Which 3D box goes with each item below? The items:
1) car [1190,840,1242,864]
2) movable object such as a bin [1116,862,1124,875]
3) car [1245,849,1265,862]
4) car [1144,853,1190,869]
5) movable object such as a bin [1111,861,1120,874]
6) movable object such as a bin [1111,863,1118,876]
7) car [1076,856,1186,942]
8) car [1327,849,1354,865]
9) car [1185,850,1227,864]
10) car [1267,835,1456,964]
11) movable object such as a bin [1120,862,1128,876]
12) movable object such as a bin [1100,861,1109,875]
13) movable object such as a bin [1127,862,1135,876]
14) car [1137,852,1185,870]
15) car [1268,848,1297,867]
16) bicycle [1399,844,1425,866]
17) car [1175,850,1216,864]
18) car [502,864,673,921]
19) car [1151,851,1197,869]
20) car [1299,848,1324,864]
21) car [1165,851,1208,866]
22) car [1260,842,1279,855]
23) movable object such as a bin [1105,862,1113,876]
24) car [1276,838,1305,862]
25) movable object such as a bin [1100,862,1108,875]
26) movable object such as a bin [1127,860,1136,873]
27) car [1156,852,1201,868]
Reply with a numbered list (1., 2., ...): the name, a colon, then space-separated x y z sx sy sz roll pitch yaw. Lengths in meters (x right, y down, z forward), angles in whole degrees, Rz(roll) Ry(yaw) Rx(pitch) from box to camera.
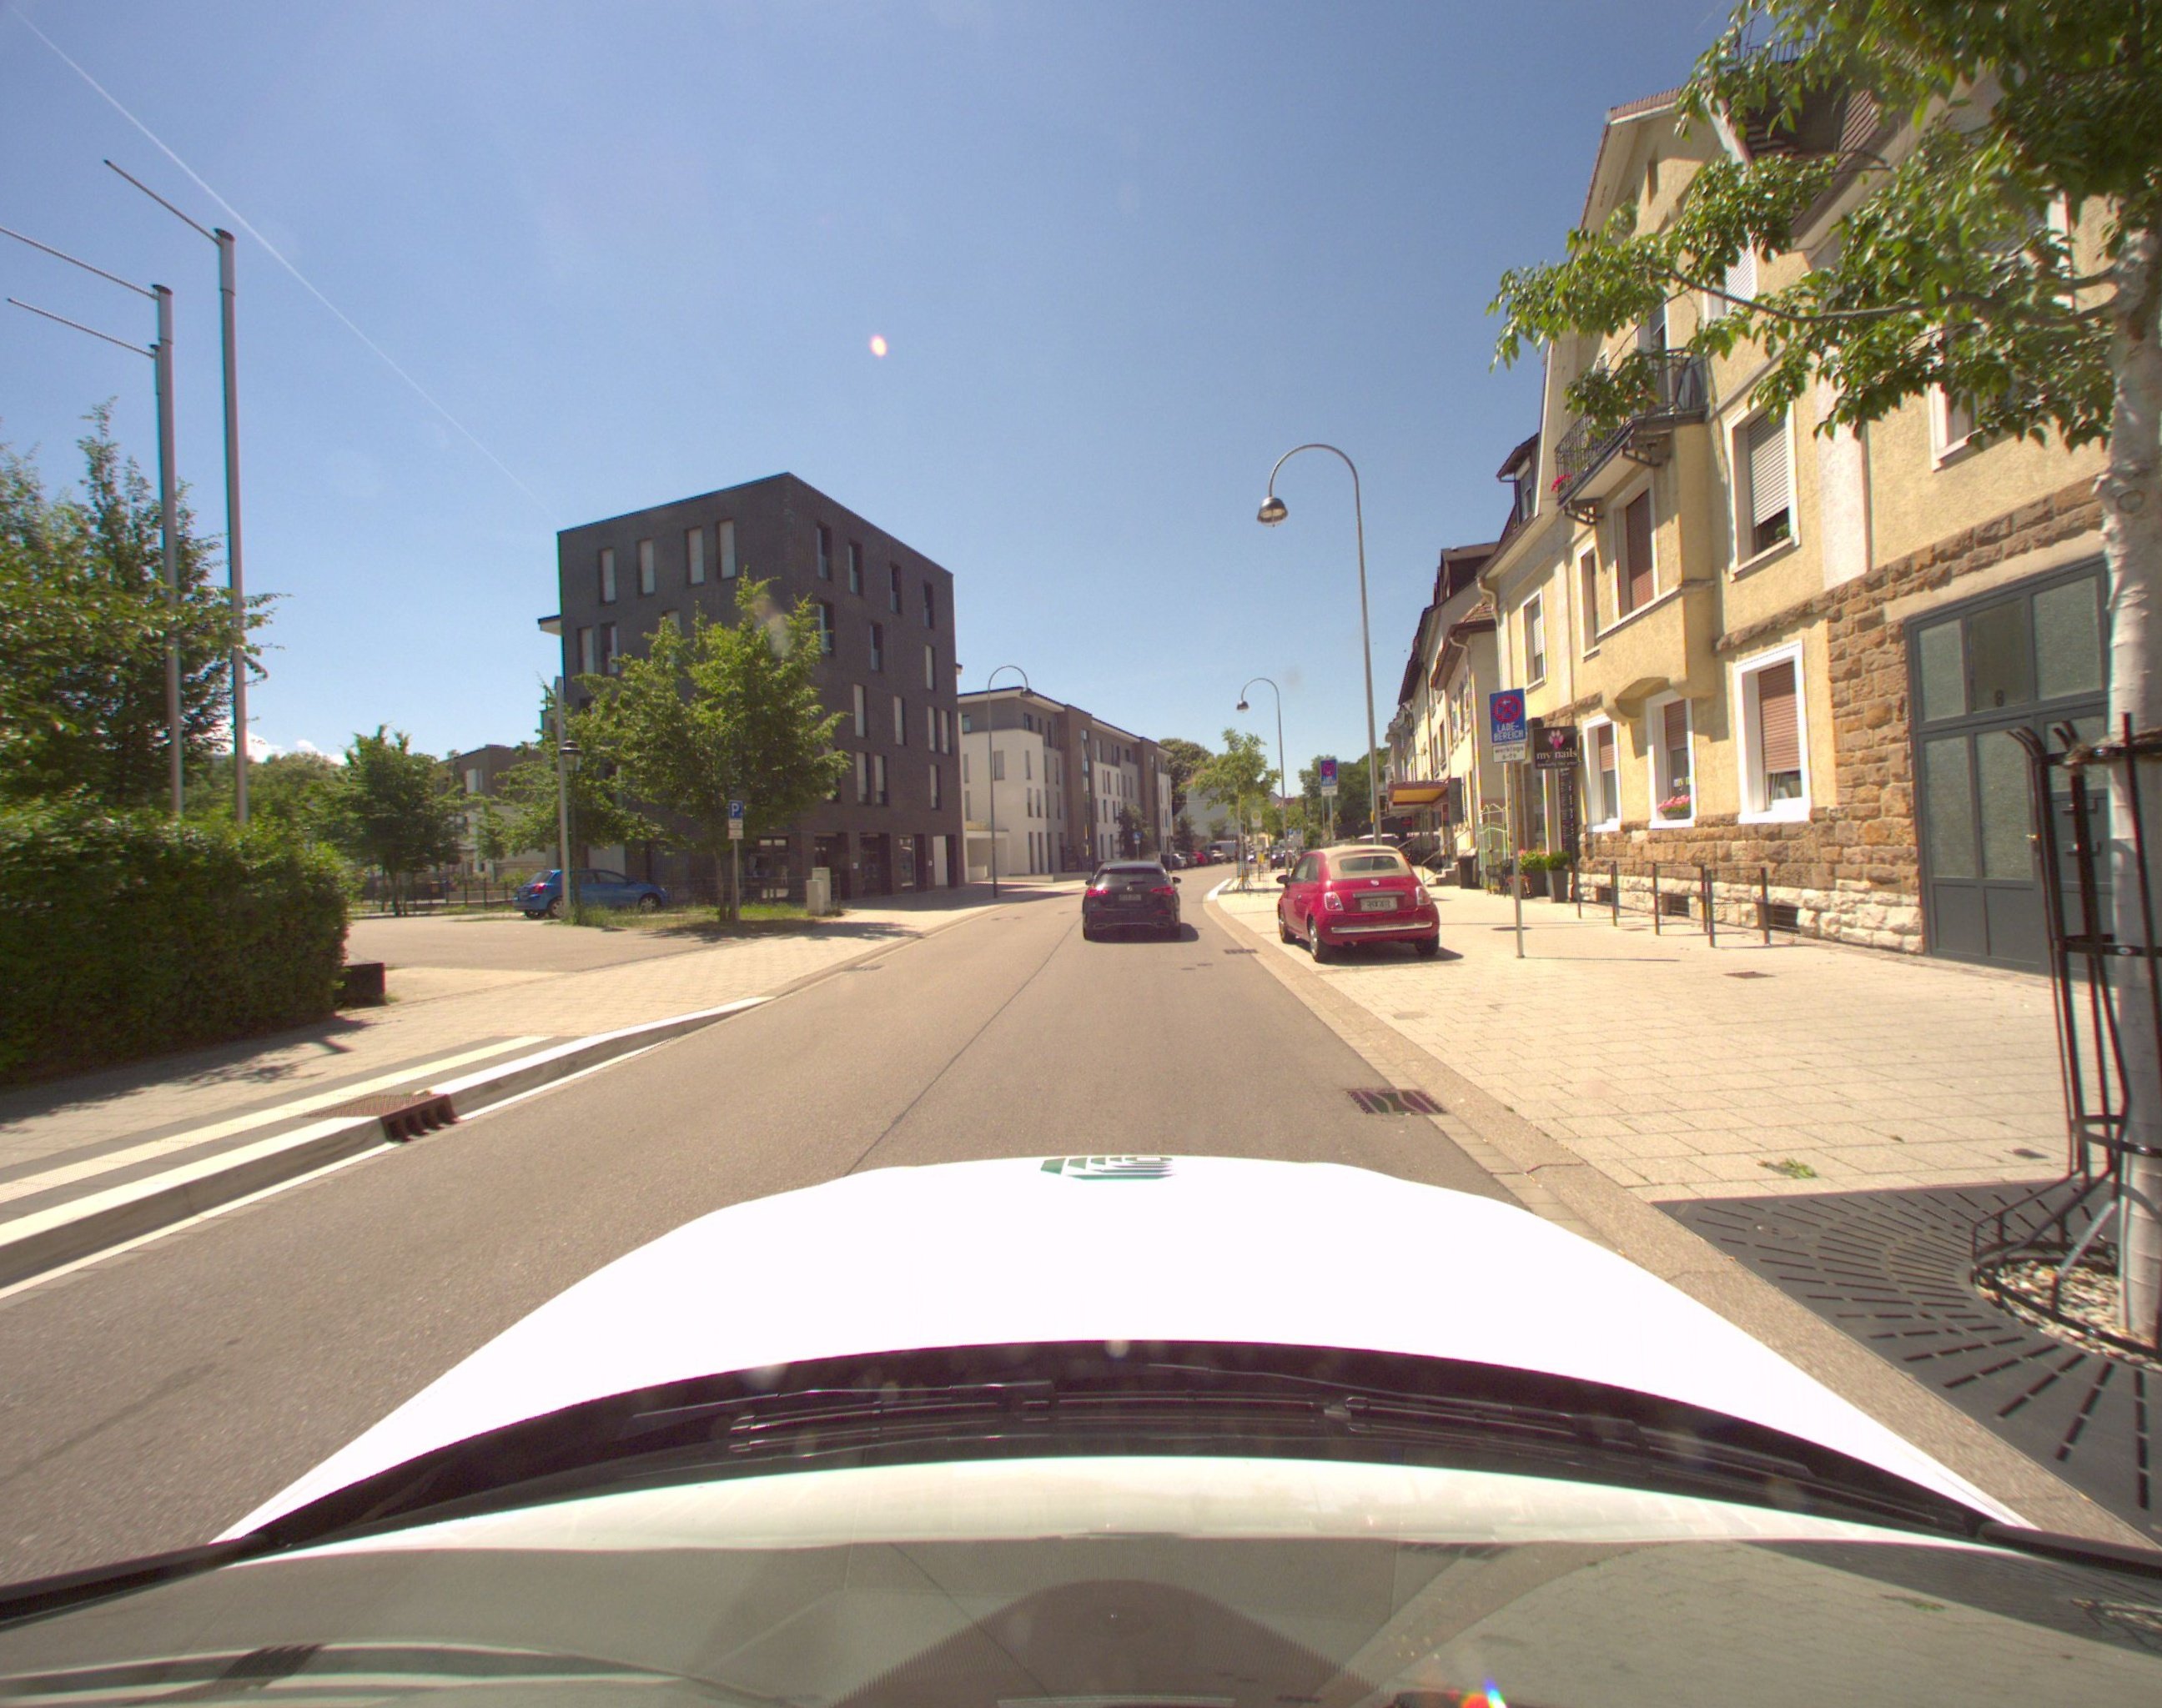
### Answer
1. car: 16.277 -0.251 97.953 5.718 2.732 2.304 -1 0 21
2. movable object such as a bin: 2.982 1.123 62.349 0.400 0.998 0.558 -2 0 19
3. car: 19.758 0.132 92.224 1.653 1.396 3.866 -2 0 19
4. car: 8.101 0.657 76.849 3.953 1.421 1.920 -1 0 21
5. movable object such as a bin: 2.762 1.099 65.115 0.672 1.039 0.605 -2 0 3
6. movable object such as a bin: 2.564 1.181 62.470 0.400 0.998 0.558 -2 0 19
7. car: 0.861 0.804 16.201 1.823 1.442 3.997 -2 0 -2
8. car: 29.264 0.349 91.819 1.853 1.491 3.887 -4 0 34
9. car: 14.354 0.328 93.485 4.416 1.591 2.010 -1 0 20
10. car: 3.906 0.578 11.935 1.672 1.514 3.389 -4 0 3
11. movable object such as a bin: 3.283 1.132 62.062 0.479 0.998 0.591 -2 0 19
12. movable object such as a bin: 1.861 1.099 64.190 0.689 1.095 0.648 -2 0 3
13. movable object such as a bin: 3.758 1.127 61.693 0.479 0.998 0.590 -2 0 13
14. car: 7.313 0.670 74.781 3.953 1.515 2.011 -1 2 21
15. car: 17.457 0.328 70.491 1.816 1.482 4.117 -5 -2 22
16. bicycle: 18.219 0.045 44.859 1.258 1.184 0.417 -1 -1 28
17. car: 12.459 0.370 88.409 4.167 1.437 1.894 -1 0 16
18. car: -14.933 1.117 24.852 1.678 1.486 4.106 -4 -2 34
19. car: 9.041 0.556 79.201 3.997 1.651 2.011 -1 0 23
20. car: 23.241 0.175 81.958 1.708 1.405 4.635 -4 -1 25
21. car: 10.856 0.437 83.738 3.997 1.430 2.011 -1 0 23
22. car: 25.758 -0.723 111.040 1.926 1.658 4.257 -1 0 20
23. movable object such as a bin: 2.132 1.150 62.044 0.479 0.998 0.529 -2 0 21
24. car: 23.563 -0.447 91.454 2.108 2.630 5.308 -2 -1 26
25. movable object such as a bin: 1.770 1.134 62.905 0.479 0.998 0.590 -2 0 13
26. movable object such as a bin: 4.011 1.013 64.790 0.550 1.020 0.563 -2 0 16
27. car: 9.800 0.586 81.936 3.997 1.496 2.011 -1 0 23
